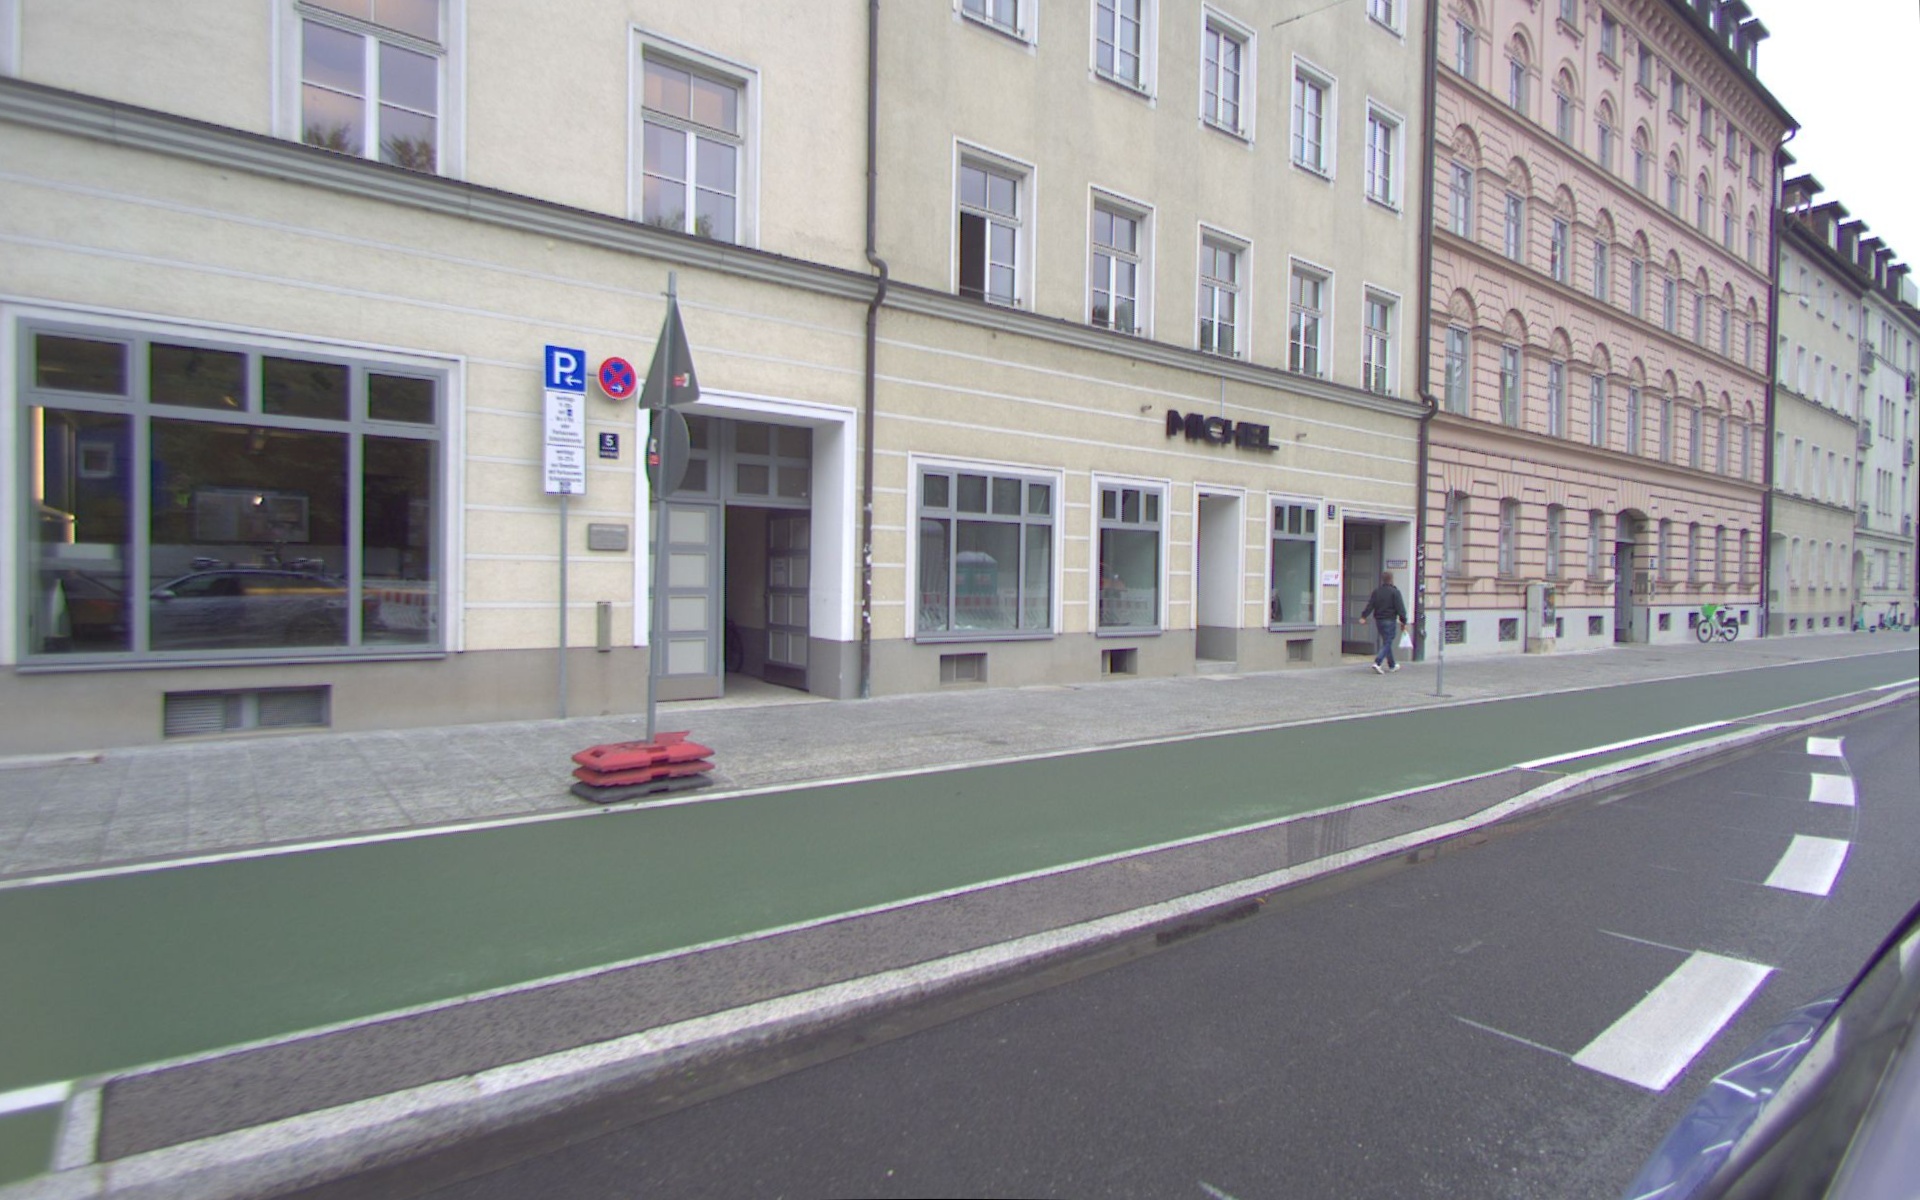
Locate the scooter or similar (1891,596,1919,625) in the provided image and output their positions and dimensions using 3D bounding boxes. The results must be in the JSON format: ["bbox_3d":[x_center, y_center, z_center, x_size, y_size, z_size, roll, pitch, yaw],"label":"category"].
[{"bbox_3d":[40.823,0.462,43.512,1.065,1.207,0.450,2,1,24],"label":"scooter or similar"}]

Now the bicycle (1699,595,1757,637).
[{"bbox_3d":[22.526,0.475,29.665,1.689,1.191,0.558,1,1,-23],"label":"bicycle"}]

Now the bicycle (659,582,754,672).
[{"bbox_3d":[-3.726,0.351,14.773,0.548,1.192,2.030,0,2,-38],"label":"bicycle"}]

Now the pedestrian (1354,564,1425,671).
[{"bbox_3d":[7.332,0.273,17.277,0.818,1.767,0.796,0,1,-37],"label":"pedestrian"}]

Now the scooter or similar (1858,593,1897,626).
[{"bbox_3d":[36.973,0.374,40.772,1.056,1.261,0.554,1,1,-2],"label":"scooter or similar"}]

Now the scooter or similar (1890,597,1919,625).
[{"bbox_3d":[41.698,0.468,44.531,1.061,1.207,0.435,1,1,14],"label":"scooter or similar"}]
